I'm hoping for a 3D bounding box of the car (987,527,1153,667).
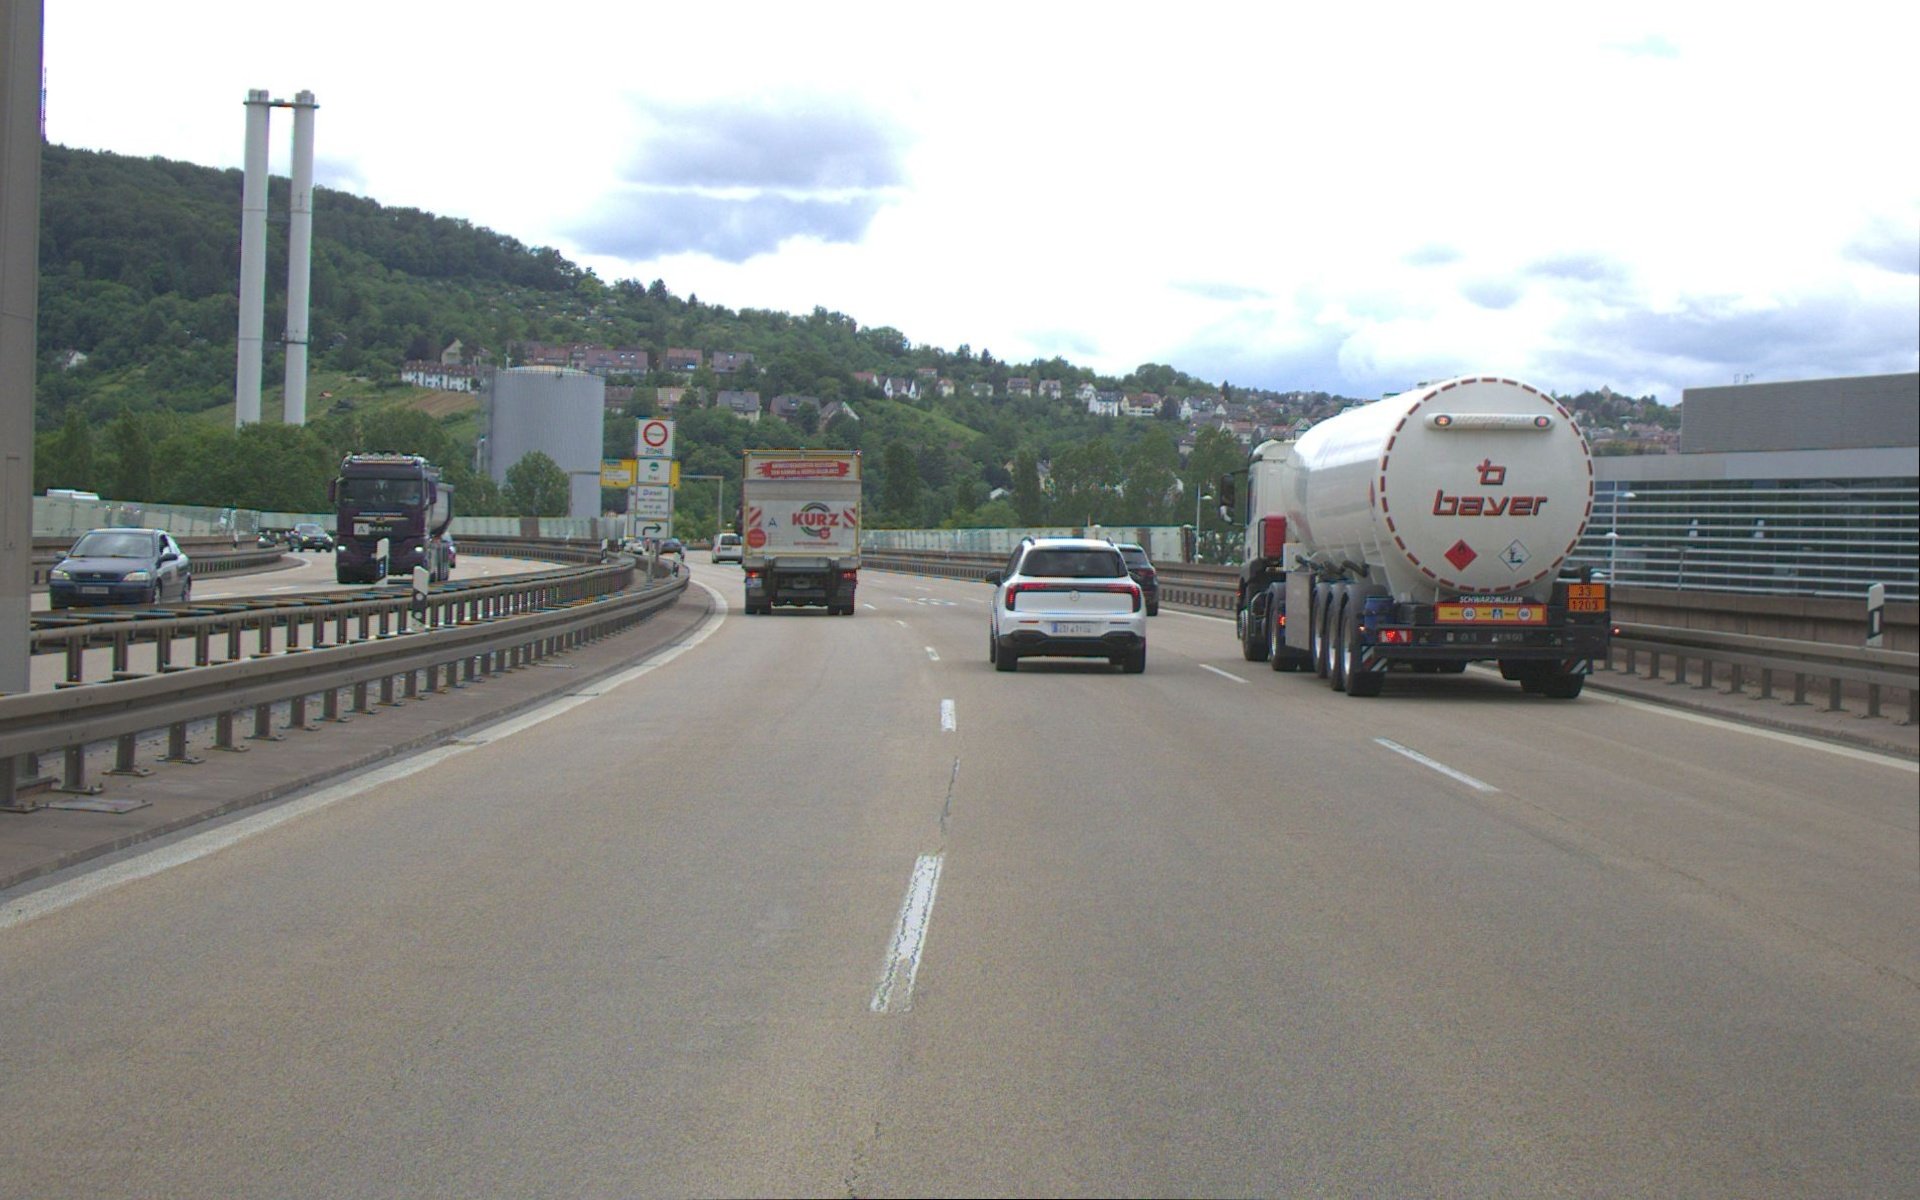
[{"bbox_3d":[1.369,-0.051,44.078,1.993,1.669,4.408,1,0,1],"label":"car"}]

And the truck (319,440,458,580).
[{"bbox_3d":[-16.533,-2.522,100.219,2.810,3.796,12.021,1,0,-4],"label":"truck"}]

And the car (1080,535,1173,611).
[{"bbox_3d":[3.782,-0.623,78.915,1.993,1.669,4.408,1,0,1],"label":"car"}]

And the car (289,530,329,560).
[{"bbox_3d":[-37.895,-3.170,200.101,1.993,1.669,4.409,1,0,-7],"label":"car"}]

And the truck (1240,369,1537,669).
[{"bbox_3d":[5.516,-1.014,45.330,3.014,3.644,6.273,1,0,-1],"label":"truck"}]

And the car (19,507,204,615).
[{"bbox_3d":[-13.750,-0.623,55.950,1.993,1.669,4.408,1,0,-1],"label":"car"}]

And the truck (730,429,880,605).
[{"bbox_3d":[-3.388,-1.795,77.059,3.057,3.678,8.304,1,0,-1],"label":"truck"}]

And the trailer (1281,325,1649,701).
[{"bbox_3d":[5.520,-0.917,39.103,3.057,3.777,8.303,1,0,1],"label":"trailer"}]
